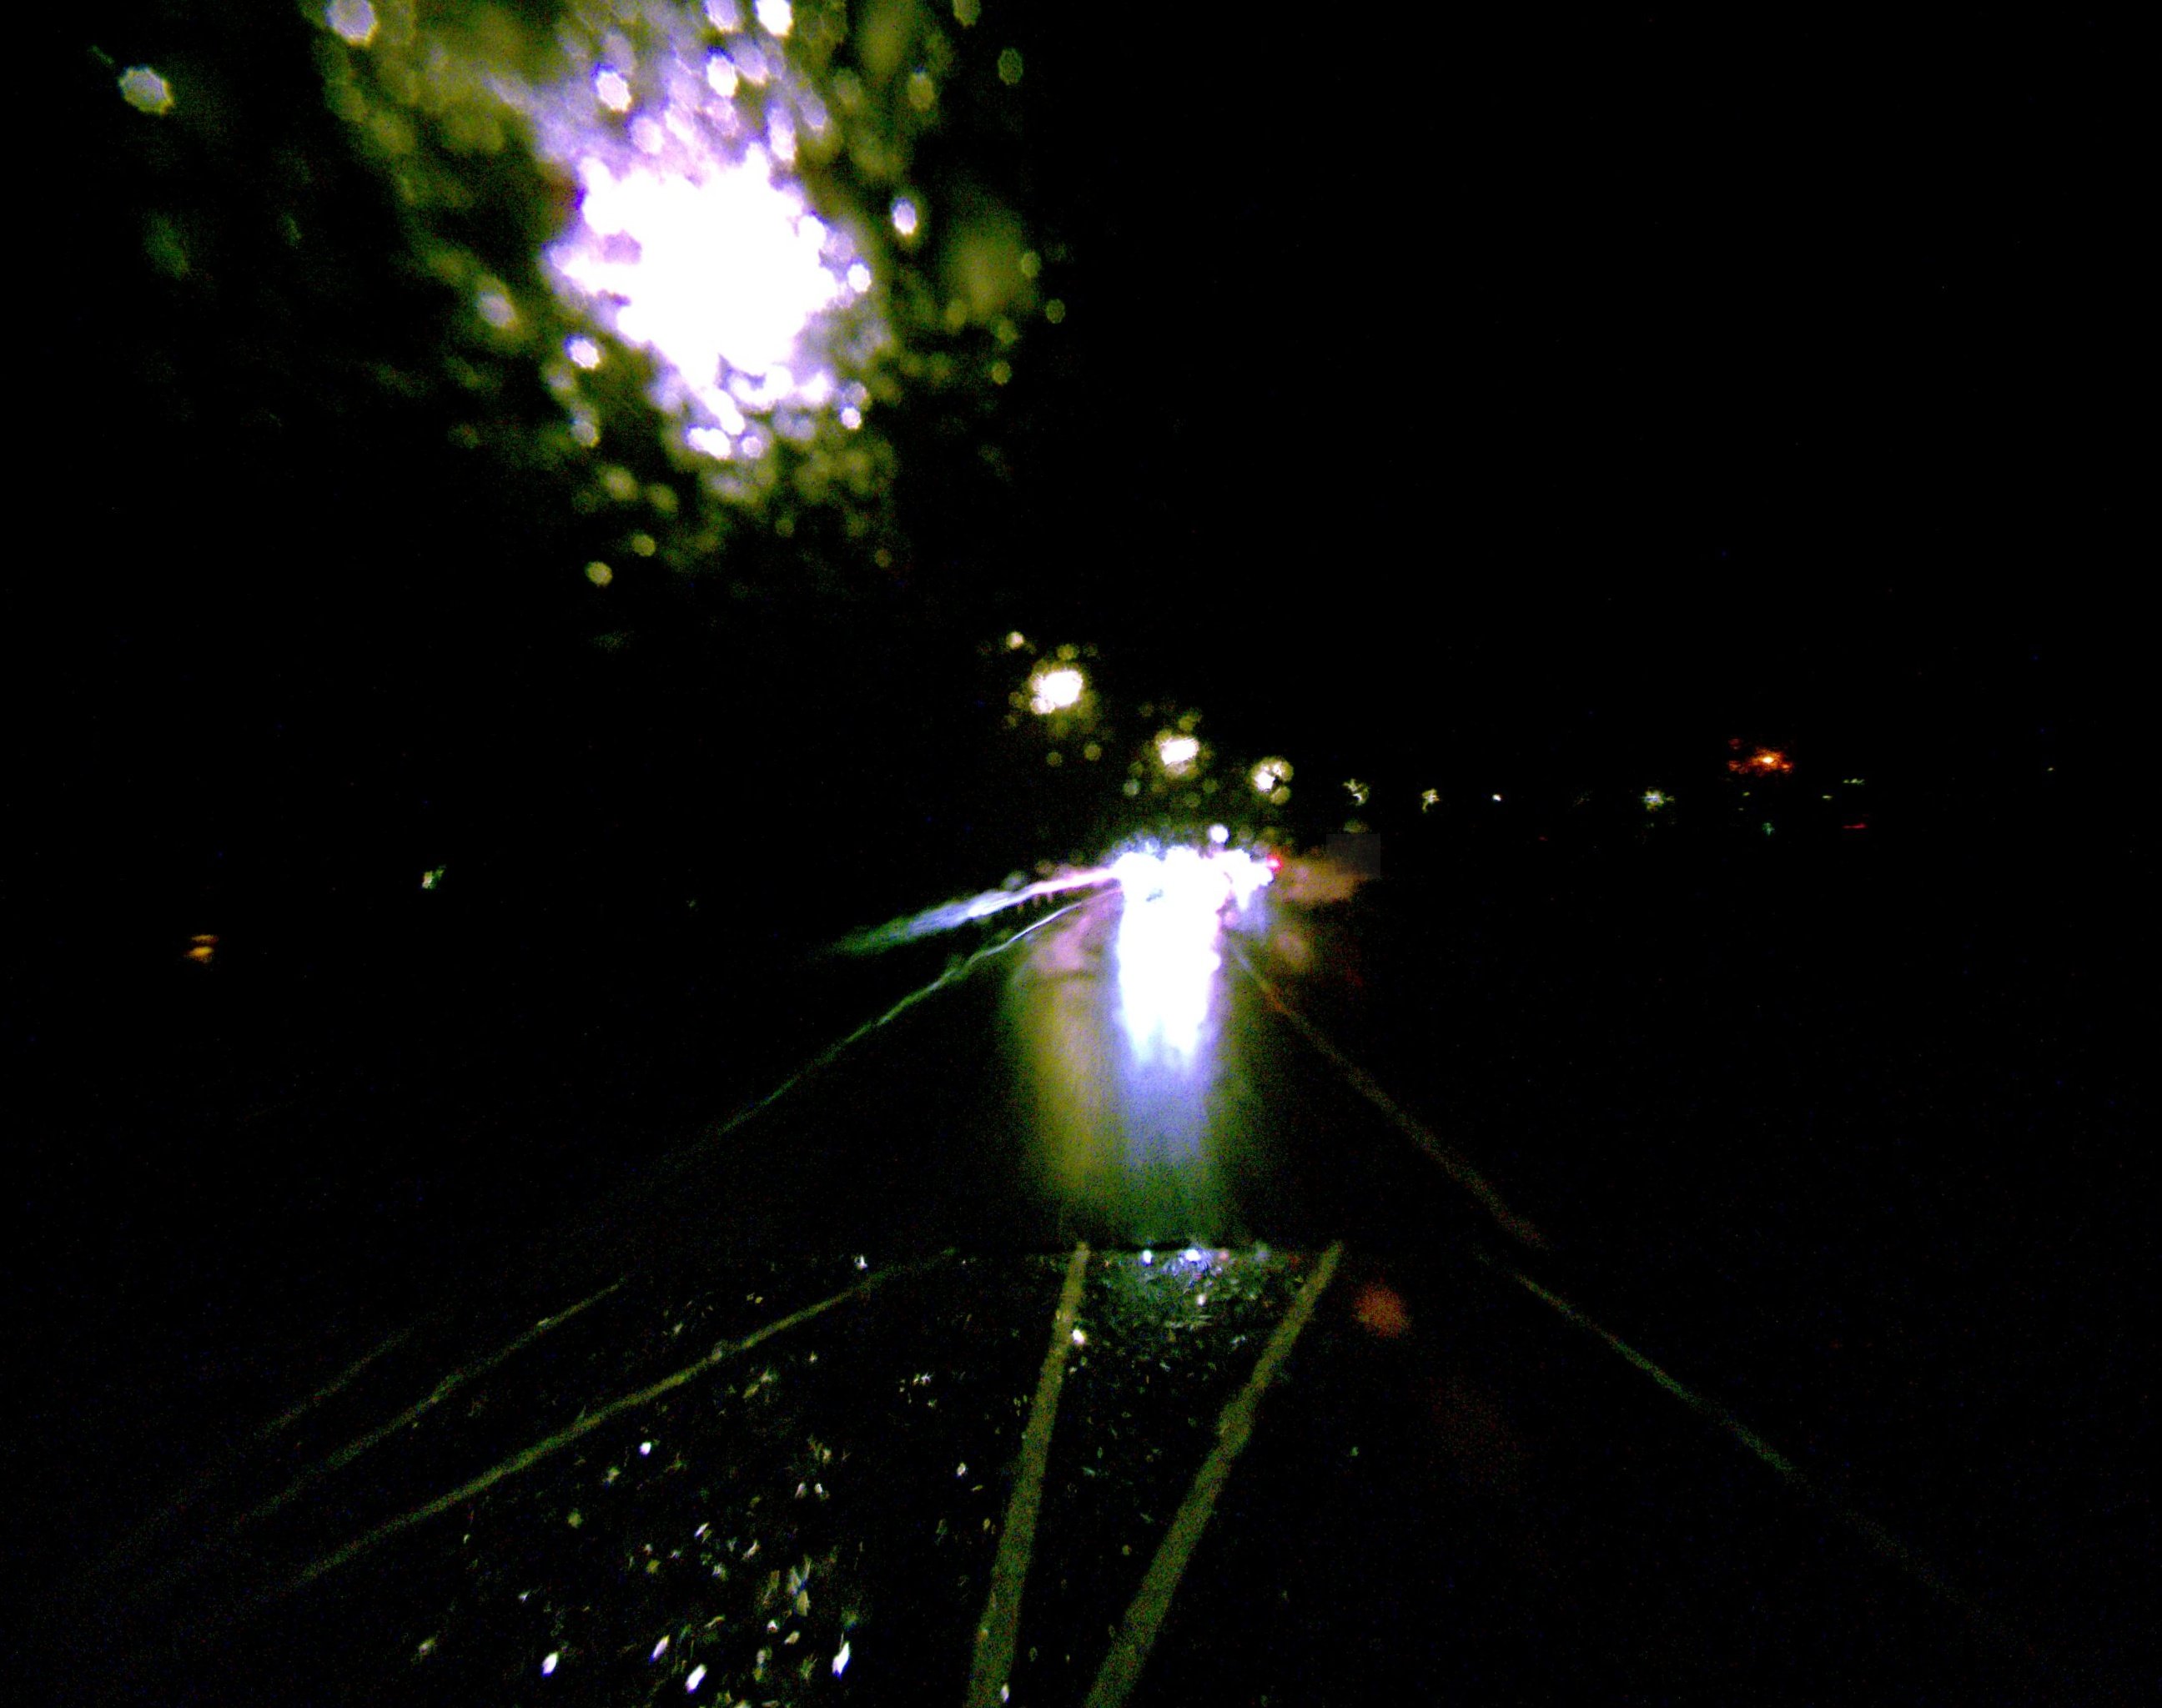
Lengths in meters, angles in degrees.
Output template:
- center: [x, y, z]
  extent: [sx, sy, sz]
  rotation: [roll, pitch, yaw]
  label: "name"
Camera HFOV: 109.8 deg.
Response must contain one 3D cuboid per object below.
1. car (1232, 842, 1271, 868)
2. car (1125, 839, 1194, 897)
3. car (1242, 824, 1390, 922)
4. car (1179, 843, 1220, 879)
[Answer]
- center: [13.856, 0.063, 61.653]
  extent: [1.995, 1.923, 4.007]
  rotation: [-2, 0, 29]
  label: "car"
- center: [2.882, 0.449, 27.152]
  extent: [1.934, 1.861, 4.004]
  rotation: [-2, 0, 13]
  label: "car"
- center: [5.482, 0.385, 18.640]
  extent: [2.454, 1.976, 5.496]
  rotation: [-2, 0, 7]
  label: "car"
- center: [6.810, 0.376, 43.429]
  extent: [1.997, 1.923, 4.004]
  rotation: [-2, 0, 12]
  label: "car"
